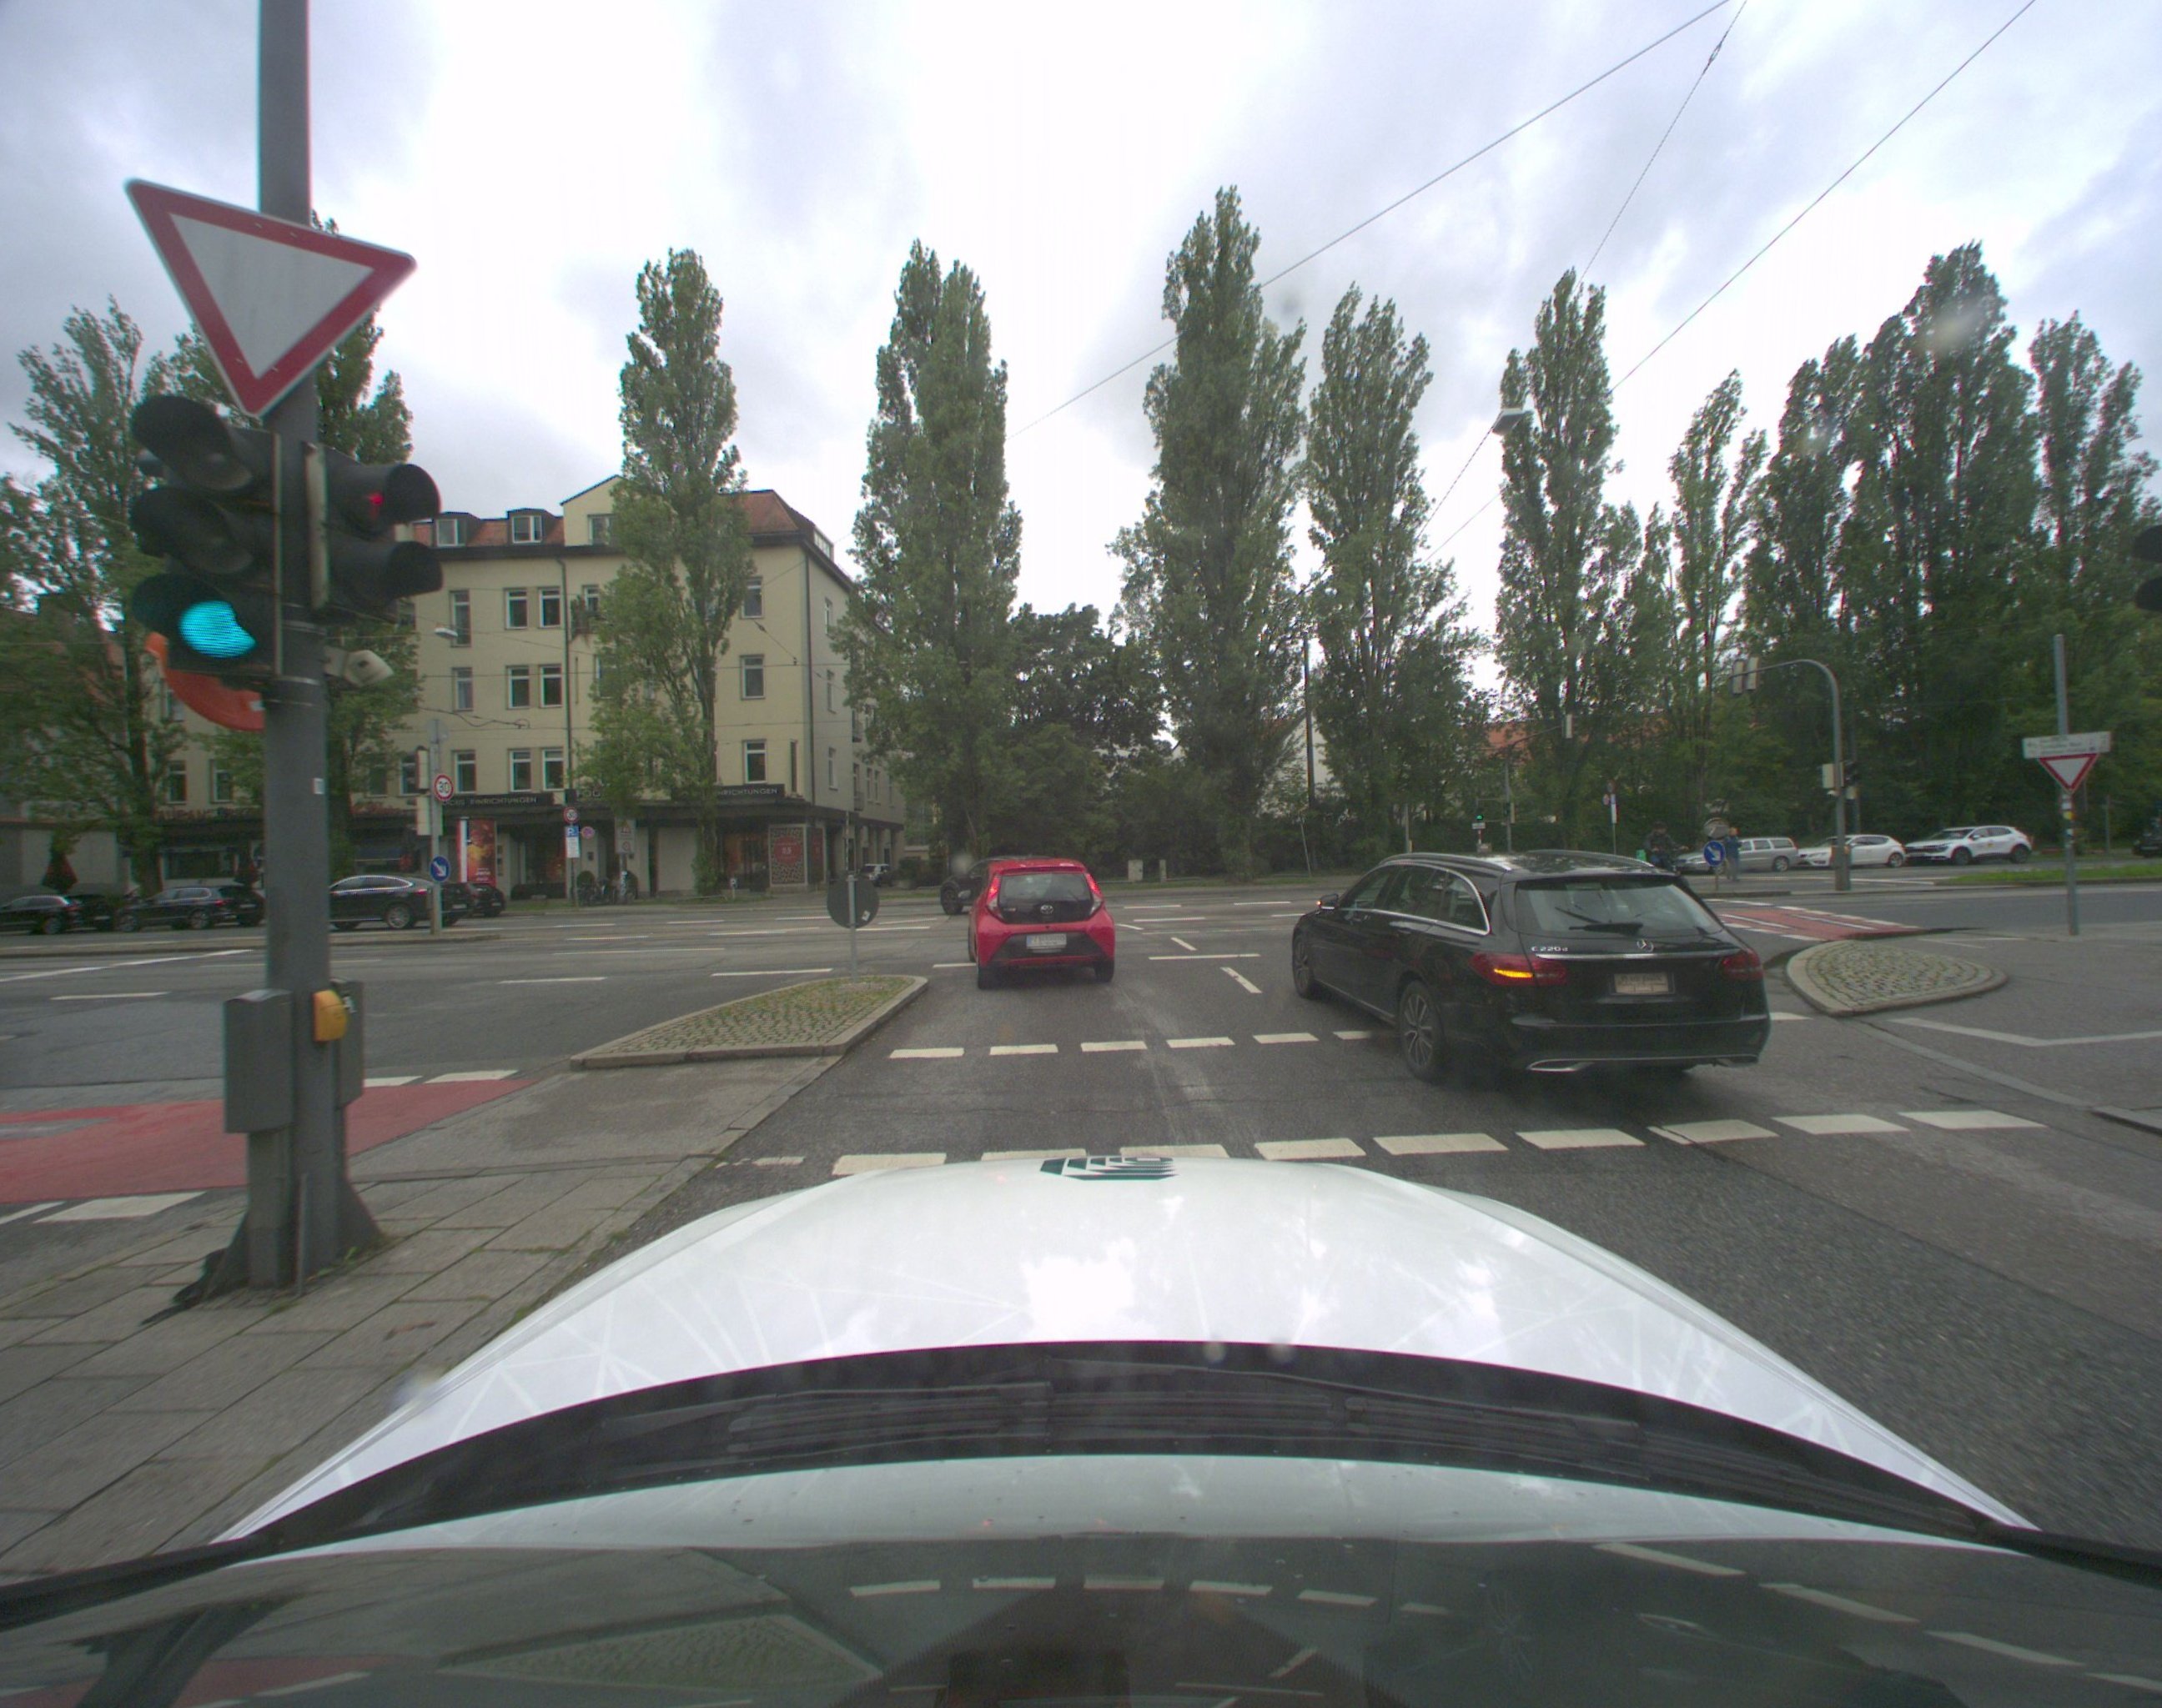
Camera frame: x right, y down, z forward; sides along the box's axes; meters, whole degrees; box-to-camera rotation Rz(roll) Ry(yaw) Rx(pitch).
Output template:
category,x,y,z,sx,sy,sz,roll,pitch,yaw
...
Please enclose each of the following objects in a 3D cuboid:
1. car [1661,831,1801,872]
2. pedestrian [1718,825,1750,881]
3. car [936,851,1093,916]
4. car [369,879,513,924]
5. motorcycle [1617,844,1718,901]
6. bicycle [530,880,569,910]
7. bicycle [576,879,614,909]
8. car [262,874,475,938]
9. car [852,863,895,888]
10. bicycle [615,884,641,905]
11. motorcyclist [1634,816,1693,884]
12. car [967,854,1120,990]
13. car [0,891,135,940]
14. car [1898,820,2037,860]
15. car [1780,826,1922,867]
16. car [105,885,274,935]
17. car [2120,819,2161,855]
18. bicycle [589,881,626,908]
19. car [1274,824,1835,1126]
category,x,y,z,sx,sy,sz,roll,pitch,yaw
car,26.663,-0.081,33.509,4.325,1.486,1.786,-2,-1,-1
pedestrian,19.703,-0.036,24.574,0.693,1.662,0.555,-1,-1,41
car,-1.800,0.761,21.172,3.949,1.486,1.798,-3,-1,42
car,-24.480,1.797,31.264,3.977,1.466,1.803,-2,-1,-3
motorcycle,12.693,0.393,17.714,0.627,1.169,2.027,0,-1,-3
bicycle,-23.162,1.772,35.527,0.493,1.185,1.888,-2,0,-1
bicycle,-21.114,1.733,35.421,0.493,1.185,1.888,-2,0,-1
car,-20.300,1.461,23.318,4.544,1.549,1.742,-2,0,1
car,-12.994,1.318,51.150,1.721,1.442,3.997,-2,0,-2
bicycle,-20.680,1.847,37.198,0.386,0.883,1.370,-2,0,-1
motorcyclist,12.696,-0.073,17.758,0.617,1.443,0.881,0,-1,-3
car,-0.639,0.761,10.747,1.628,1.440,3.366,-2,0,-9
car,-39.218,2.328,30.982,4.276,1.612,1.805,-2,0,0
car,37.411,-0.560,34.428,4.117,1.486,1.784,-2,-1,-4
car,32.147,-0.291,34.078,4.232,1.486,1.786,-2,-1,-1
car,-33.793,2.110,30.945,4.441,1.612,1.727,-2,0,0
car,47.912,-0.803,35.111,4.117,1.486,1.784,-2,-1,-4
bicycle,-20.589,1.738,35.467,0.493,1.082,1.888,-2,0,-1
car,3.065,0.631,6.658,1.857,1.549,4.703,-1,0,0
